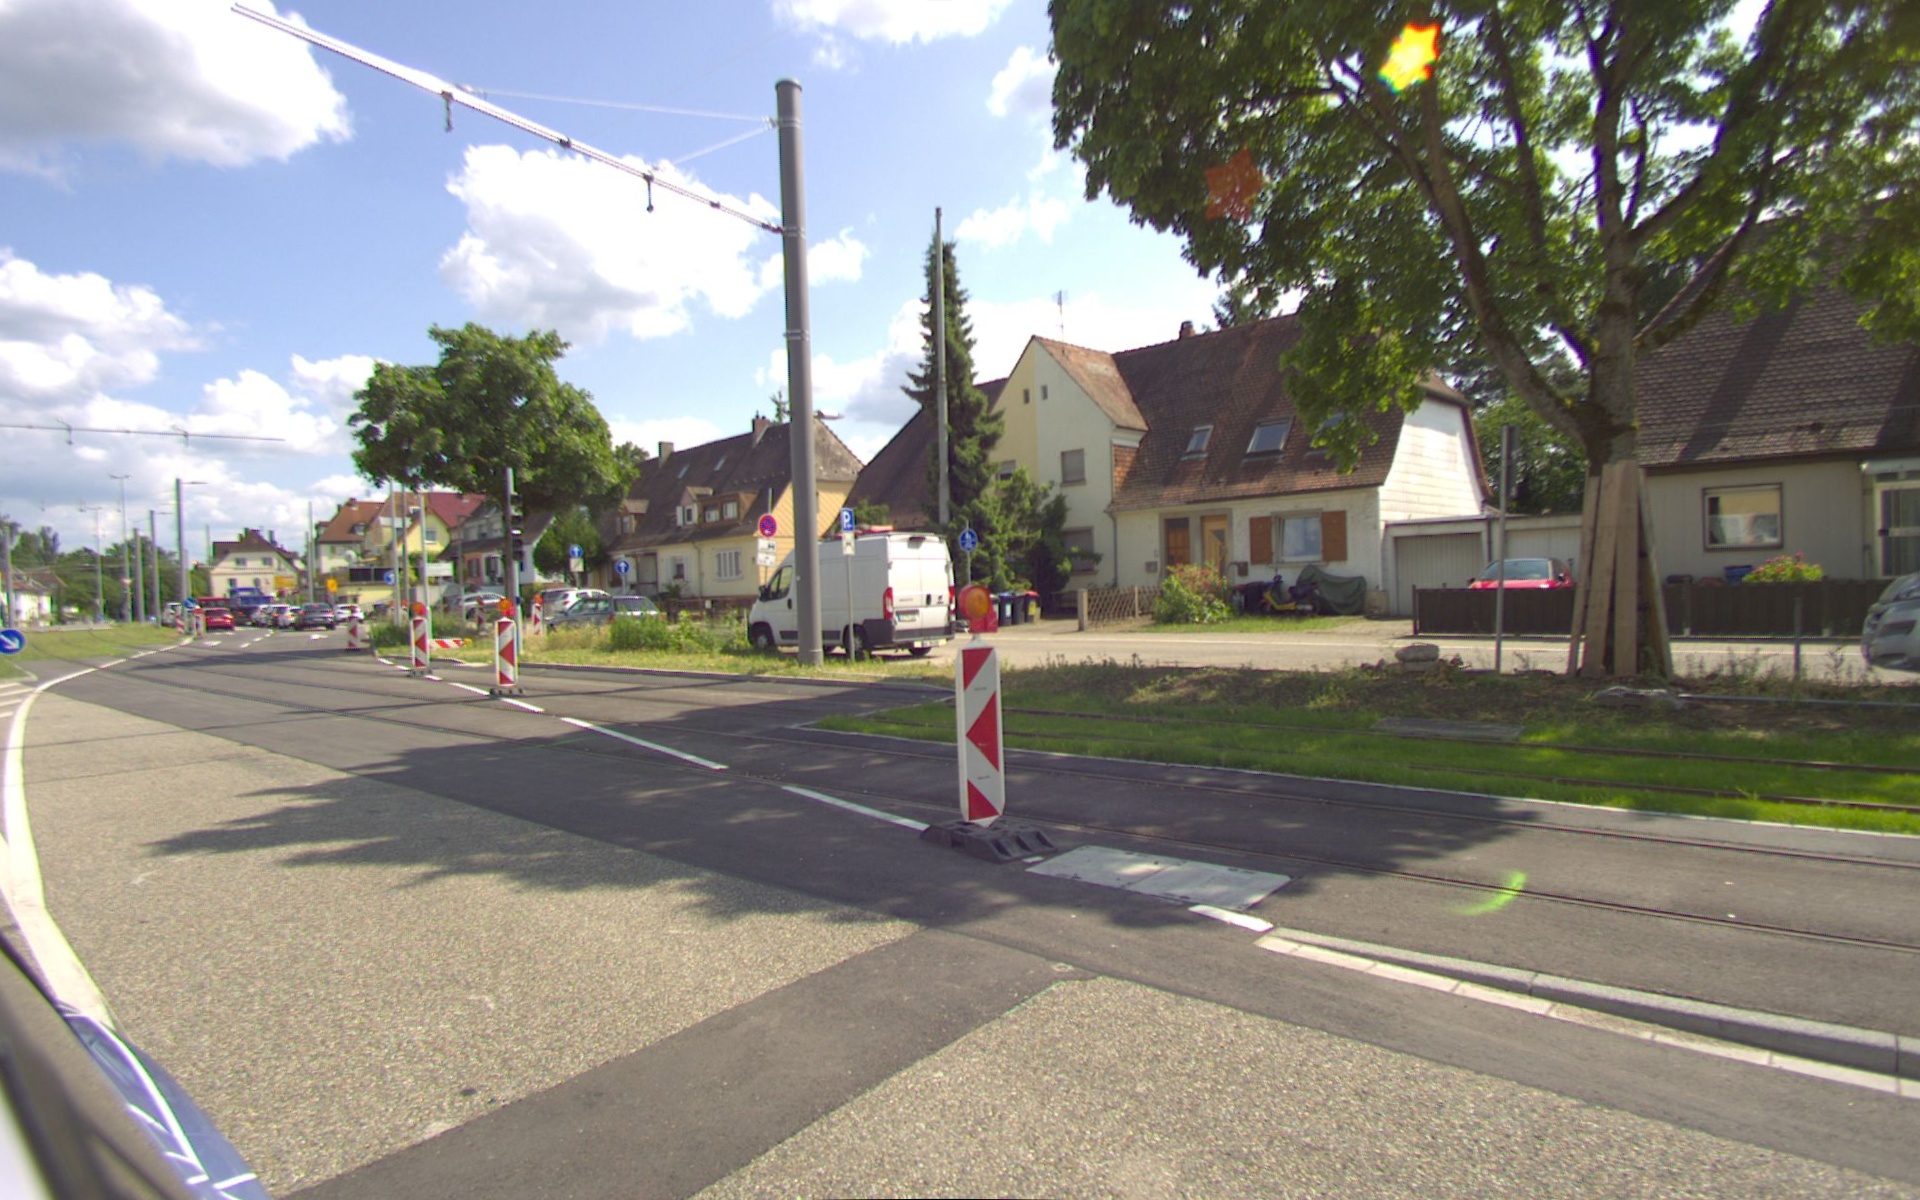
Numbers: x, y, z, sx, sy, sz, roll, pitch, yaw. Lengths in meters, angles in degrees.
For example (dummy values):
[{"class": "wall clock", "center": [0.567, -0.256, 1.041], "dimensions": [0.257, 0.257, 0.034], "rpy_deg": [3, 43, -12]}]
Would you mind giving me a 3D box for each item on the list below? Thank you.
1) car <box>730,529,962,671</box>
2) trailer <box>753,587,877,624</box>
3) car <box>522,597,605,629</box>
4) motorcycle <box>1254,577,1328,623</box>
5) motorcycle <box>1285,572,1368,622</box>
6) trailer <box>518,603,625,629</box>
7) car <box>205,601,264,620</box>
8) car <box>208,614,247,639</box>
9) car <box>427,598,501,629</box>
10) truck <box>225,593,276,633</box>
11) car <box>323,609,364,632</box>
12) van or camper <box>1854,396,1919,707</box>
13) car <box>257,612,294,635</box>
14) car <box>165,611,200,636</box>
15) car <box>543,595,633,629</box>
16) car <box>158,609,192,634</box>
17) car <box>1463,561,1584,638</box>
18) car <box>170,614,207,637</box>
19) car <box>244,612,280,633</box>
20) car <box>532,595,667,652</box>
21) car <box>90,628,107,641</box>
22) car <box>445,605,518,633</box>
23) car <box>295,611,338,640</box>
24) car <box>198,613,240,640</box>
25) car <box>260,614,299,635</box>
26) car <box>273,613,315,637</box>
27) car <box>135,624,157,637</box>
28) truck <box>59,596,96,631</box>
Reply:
[{"class": "car", "center": [-2.525, 0.011, 21.603], "dimensions": [4.914, 2.688, 2.131], "rpy_deg": [-1, 1, 41]}, {"class": "trailer", "center": [-6.344, 0.227, 44.635], "dimensions": [5.194, 1.404, 2.026], "rpy_deg": [-3, 1, -44]}, {"class": "car", "center": [-21.666, 0.682, 55.411], "dimensions": [3.837, 1.556, 1.709], "rpy_deg": [-2, 1, -42]}, {"class": "motorcycle", "center": [8.737, 0.003, 26.755], "dimensions": [1.791, 1.178, 0.491], "rpy_deg": [-1, 1, 39]}, {"class": "motorcycle", "center": [9.740, -0.074, 26.932], "dimensions": [1.992, 1.282, 0.573], "rpy_deg": [-2, 1, 28]}, {"class": "trailer", "center": [-20.408, 0.845, 53.291], "dimensions": [1.961, 1.133, 4.866], "rpy_deg": [-2, 1, 44]}, {"class": "car", "center": [-81.924, 1.154, 114.336], "dimensions": [4.912, 1.886, 2.288], "rpy_deg": [-2, 0, -2]}, {"class": "car", "center": [-50.491, 1.808, 69.754], "dimensions": [1.704, 1.574, 4.650], "rpy_deg": [-2, 1, -42]}, {"class": "car", "center": [-32.456, 0.847, 66.267], "dimensions": [1.803, 1.859, 3.943], "rpy_deg": [-2, 1, 44]}, {"class": "truck", "center": [-60.149, 1.120, 85.740], "dimensions": [2.800, 3.177, 7.947], "rpy_deg": [-2, 1, -40]}, {"class": "car", "center": [-44.053, 1.459, 72.264], "dimensions": [1.704, 1.574, 4.547], "rpy_deg": [-2, 1, -42]}, {"class": "van or camper", "center": [12.570, -0.563, 8.564], "dimensions": [7.287, 2.992, 2.353], "rpy_deg": [-2, 0, 39]}, {"class": "car", "center": [-50.579, 1.736, 74.745], "dimensions": [1.704, 1.574, 4.547], "rpy_deg": [-2, 1, -42]}, {"class": "car", "center": [-61.730, 1.863, 80.325], "dimensions": [1.705, 1.868, 4.546], "rpy_deg": [-2, 1, -43]}, {"class": "car", "center": [-18.810, 0.603, 51.249], "dimensions": [1.759, 1.556, 3.911], "rpy_deg": [-2, 1, 39]}, {"class": "car", "center": [-66.630, 1.844, 85.868], "dimensions": [1.895, 1.979, 4.546], "rpy_deg": [-2, 1, -43]}, {"class": "car", "center": [12.386, -0.047, 22.143], "dimensions": [1.669, 1.533, 3.581], "rpy_deg": [-1, 1, 40]}, {"class": "car", "center": [-57.168, 1.857, 74.975], "dimensions": [1.705, 1.574, 4.546], "rpy_deg": [-2, 1, -43]}, {"class": "car", "center": [-54.794, 1.755, 79.421], "dimensions": [1.705, 1.574, 4.546], "rpy_deg": [-2, 1, -43]}, {"class": "car", "center": [-10.507, 0.674, 29.279], "dimensions": [4.755, 1.476, 1.674], "rpy_deg": [-2, 1, 44]}, {"class": "car", "center": [-148.320, 5.963, 174.293], "dimensions": [2.029, 2.023, 4.958], "rpy_deg": [-2, 0, -39]}, {"class": "car", "center": [-30.332, 1.204, 64.203], "dimensions": [1.682, 1.567, 3.835], "rpy_deg": [-2, 1, 44]}, {"class": "car", "center": [-37.151, 1.436, 58.375], "dimensions": [1.703, 1.538, 4.781], "rpy_deg": [-2, 1, -37]}, {"class": "car", "center": [-47.393, 1.693, 64.701], "dimensions": [1.704, 1.574, 4.547], "rpy_deg": [-2, 1, -42]}, {"class": "car", "center": [-46.521, 1.650, 69.137], "dimensions": [1.704, 1.344, 4.549], "rpy_deg": [-2, 1, -40]}, {"class": "car", "center": [-41.967, 1.568, 63.699], "dimensions": [1.704, 1.344, 4.549], "rpy_deg": [-2, 1, -40]}, {"class": "car", "center": [-125.311, 4.640, 155.873], "dimensions": [2.249, 1.886, 4.997], "rpy_deg": [-2, 1, -35]}, {"class": "truck", "center": [-139.126, 2.179, 159.708], "dimensions": [3.423, 5.222, 14.246], "rpy_deg": [-2, 0, -38]}]
